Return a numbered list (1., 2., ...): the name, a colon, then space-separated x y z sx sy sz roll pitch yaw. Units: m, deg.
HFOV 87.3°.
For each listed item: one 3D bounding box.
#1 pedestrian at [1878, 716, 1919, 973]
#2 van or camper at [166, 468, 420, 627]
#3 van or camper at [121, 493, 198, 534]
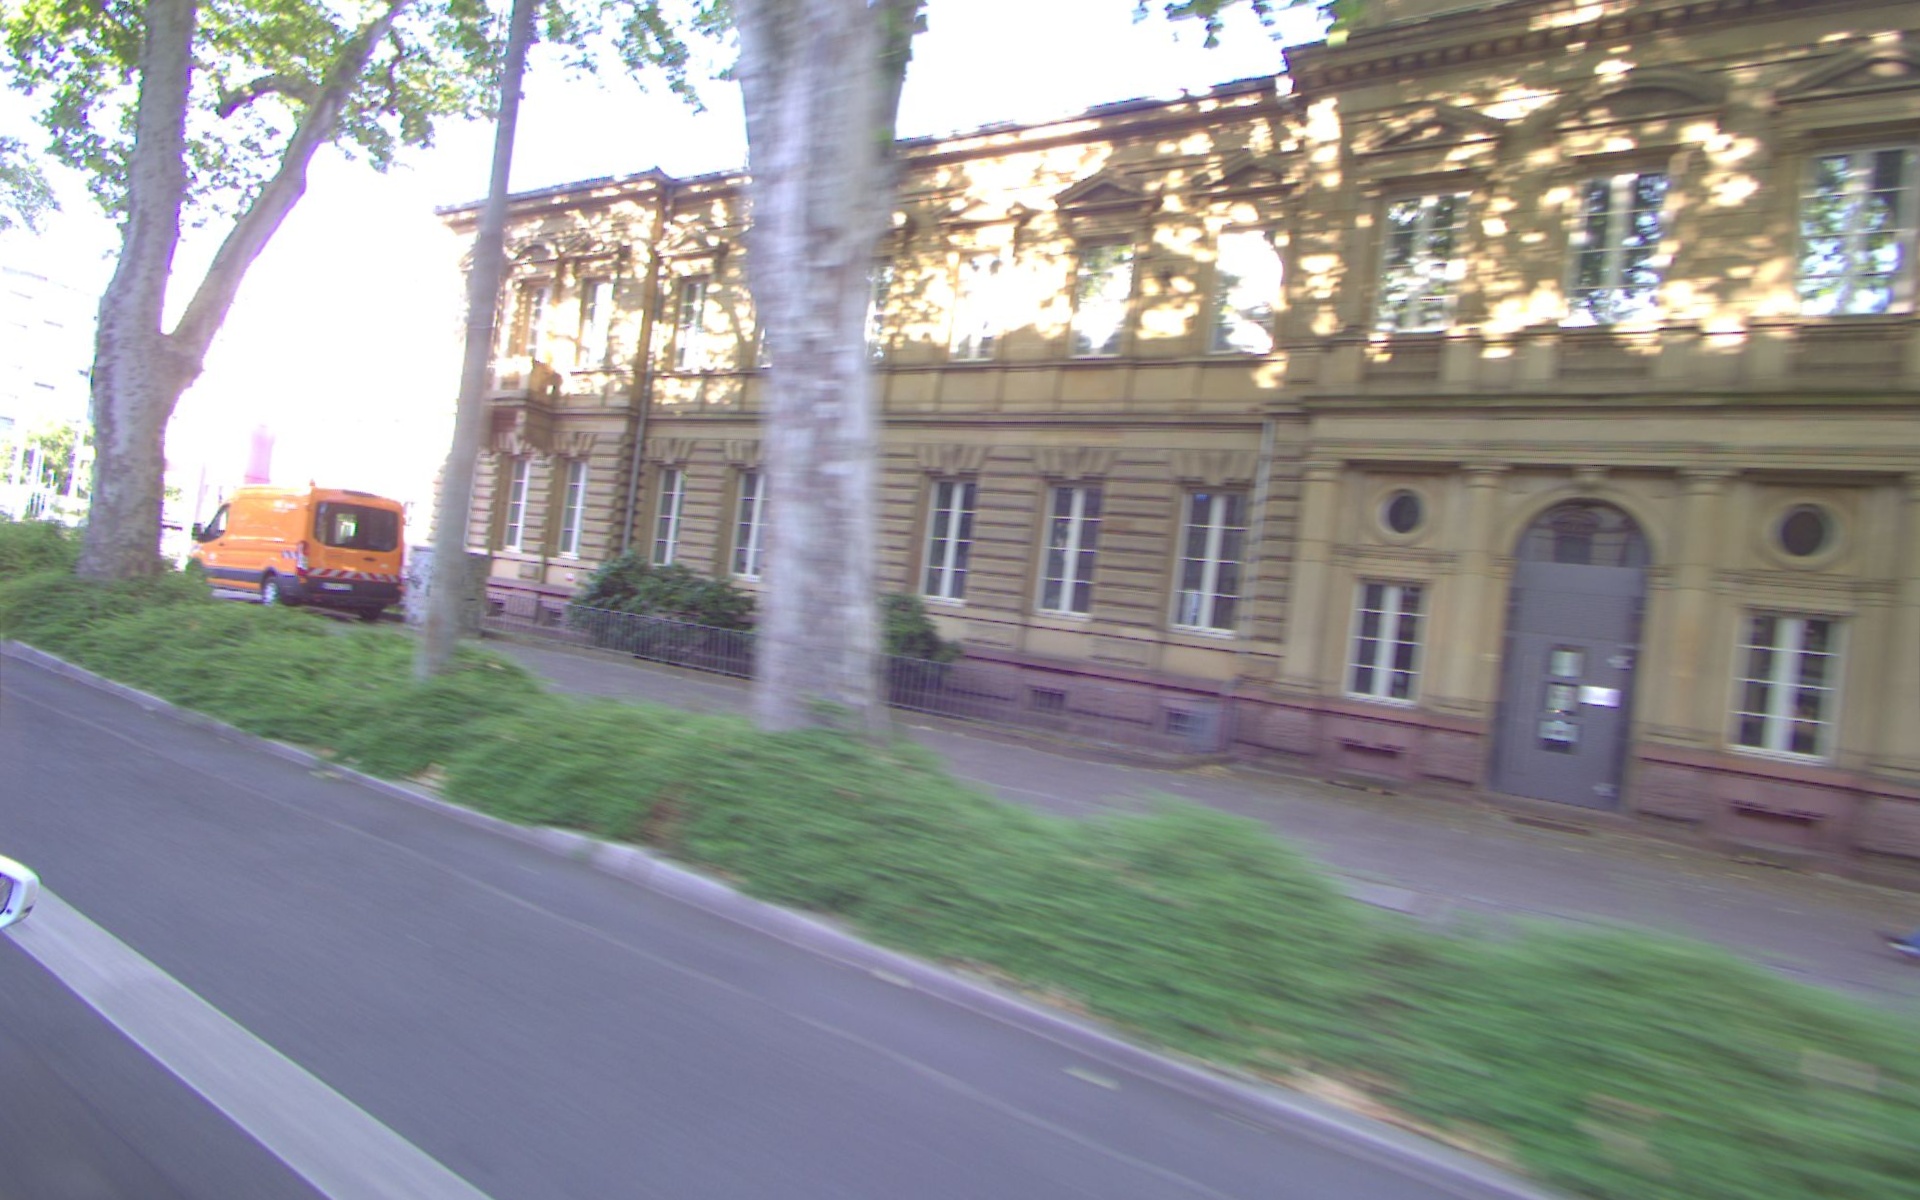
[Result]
1. pedestrian: 7.160 1.753 6.941 0.992 1.757 0.651 7 0 37
2. van or camper: -13.766 -1.131 20.636 5.679 2.590 2.039 7 -1 33
3. van or camper: -50.087 -5.410 62.914 4.915 1.932 1.984 7 0 30
